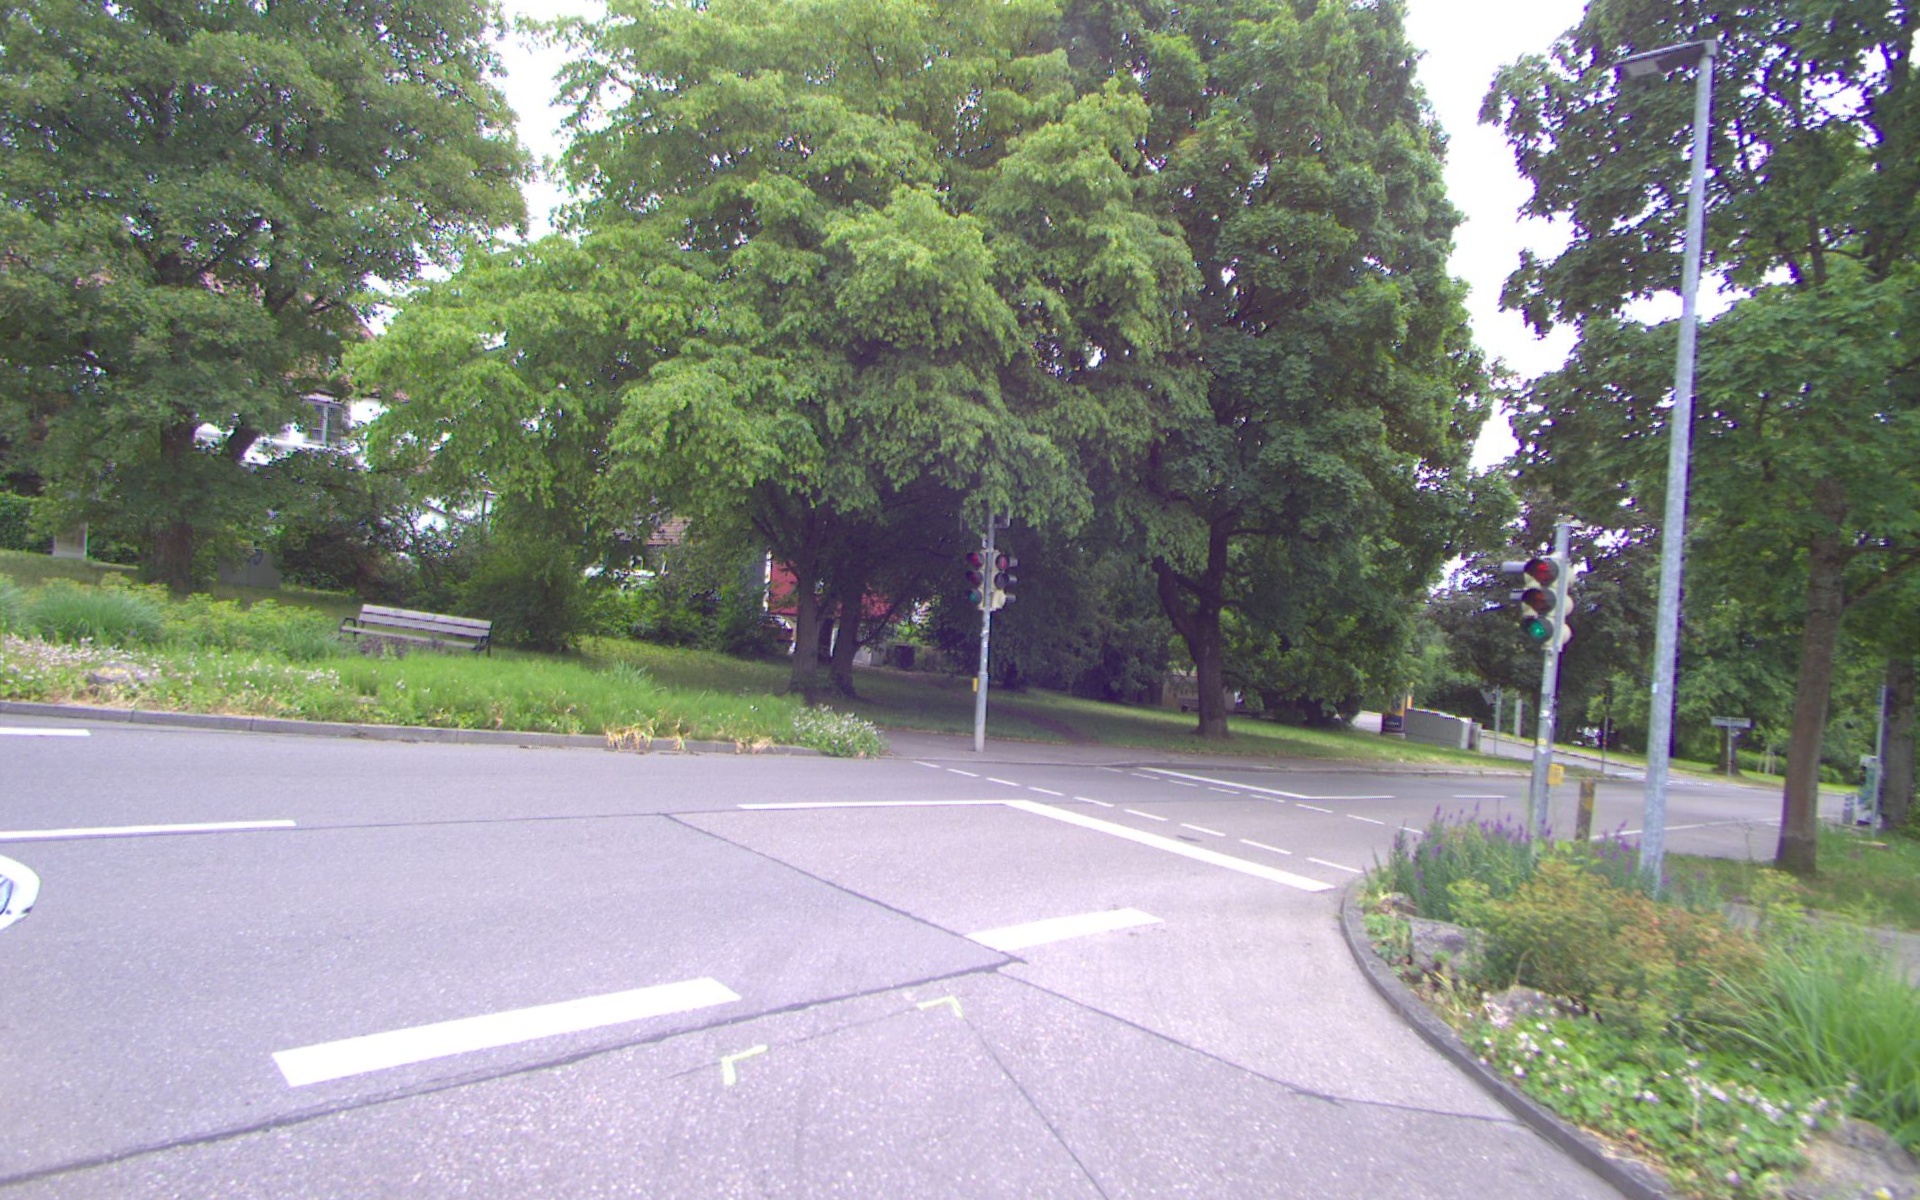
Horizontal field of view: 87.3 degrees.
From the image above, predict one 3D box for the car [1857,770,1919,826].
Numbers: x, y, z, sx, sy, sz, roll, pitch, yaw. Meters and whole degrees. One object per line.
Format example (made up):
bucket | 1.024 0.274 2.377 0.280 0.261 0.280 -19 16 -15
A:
car | 34.049 7.073 35.827 3.958 1.571 1.984 7 0 -31
